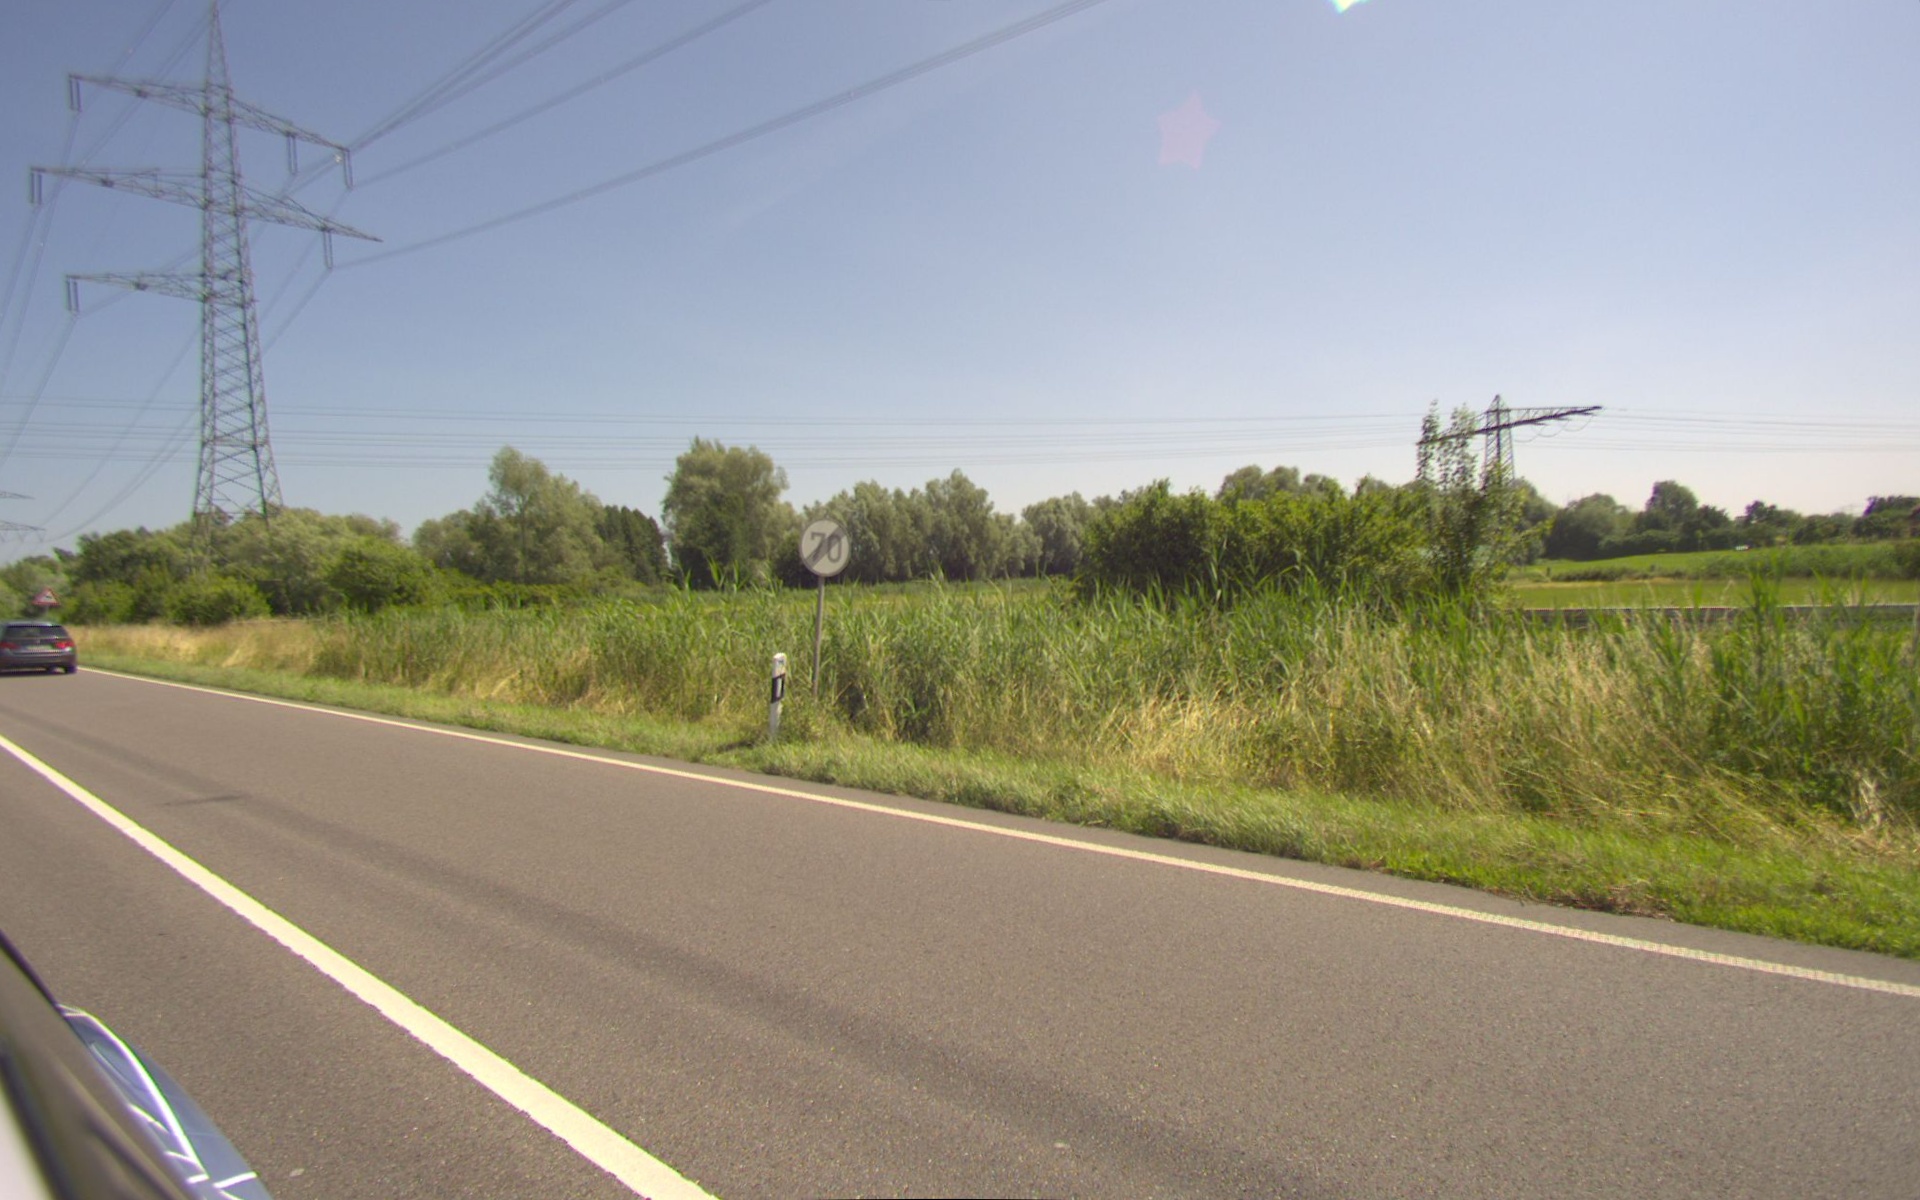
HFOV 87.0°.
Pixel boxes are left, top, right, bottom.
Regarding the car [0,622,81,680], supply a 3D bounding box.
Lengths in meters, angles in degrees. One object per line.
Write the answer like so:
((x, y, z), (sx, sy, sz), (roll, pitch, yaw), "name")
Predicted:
((-25.460, 1.340, 27.504), (4.319, 1.444, 1.727), (-1, -1, 40), "car")
